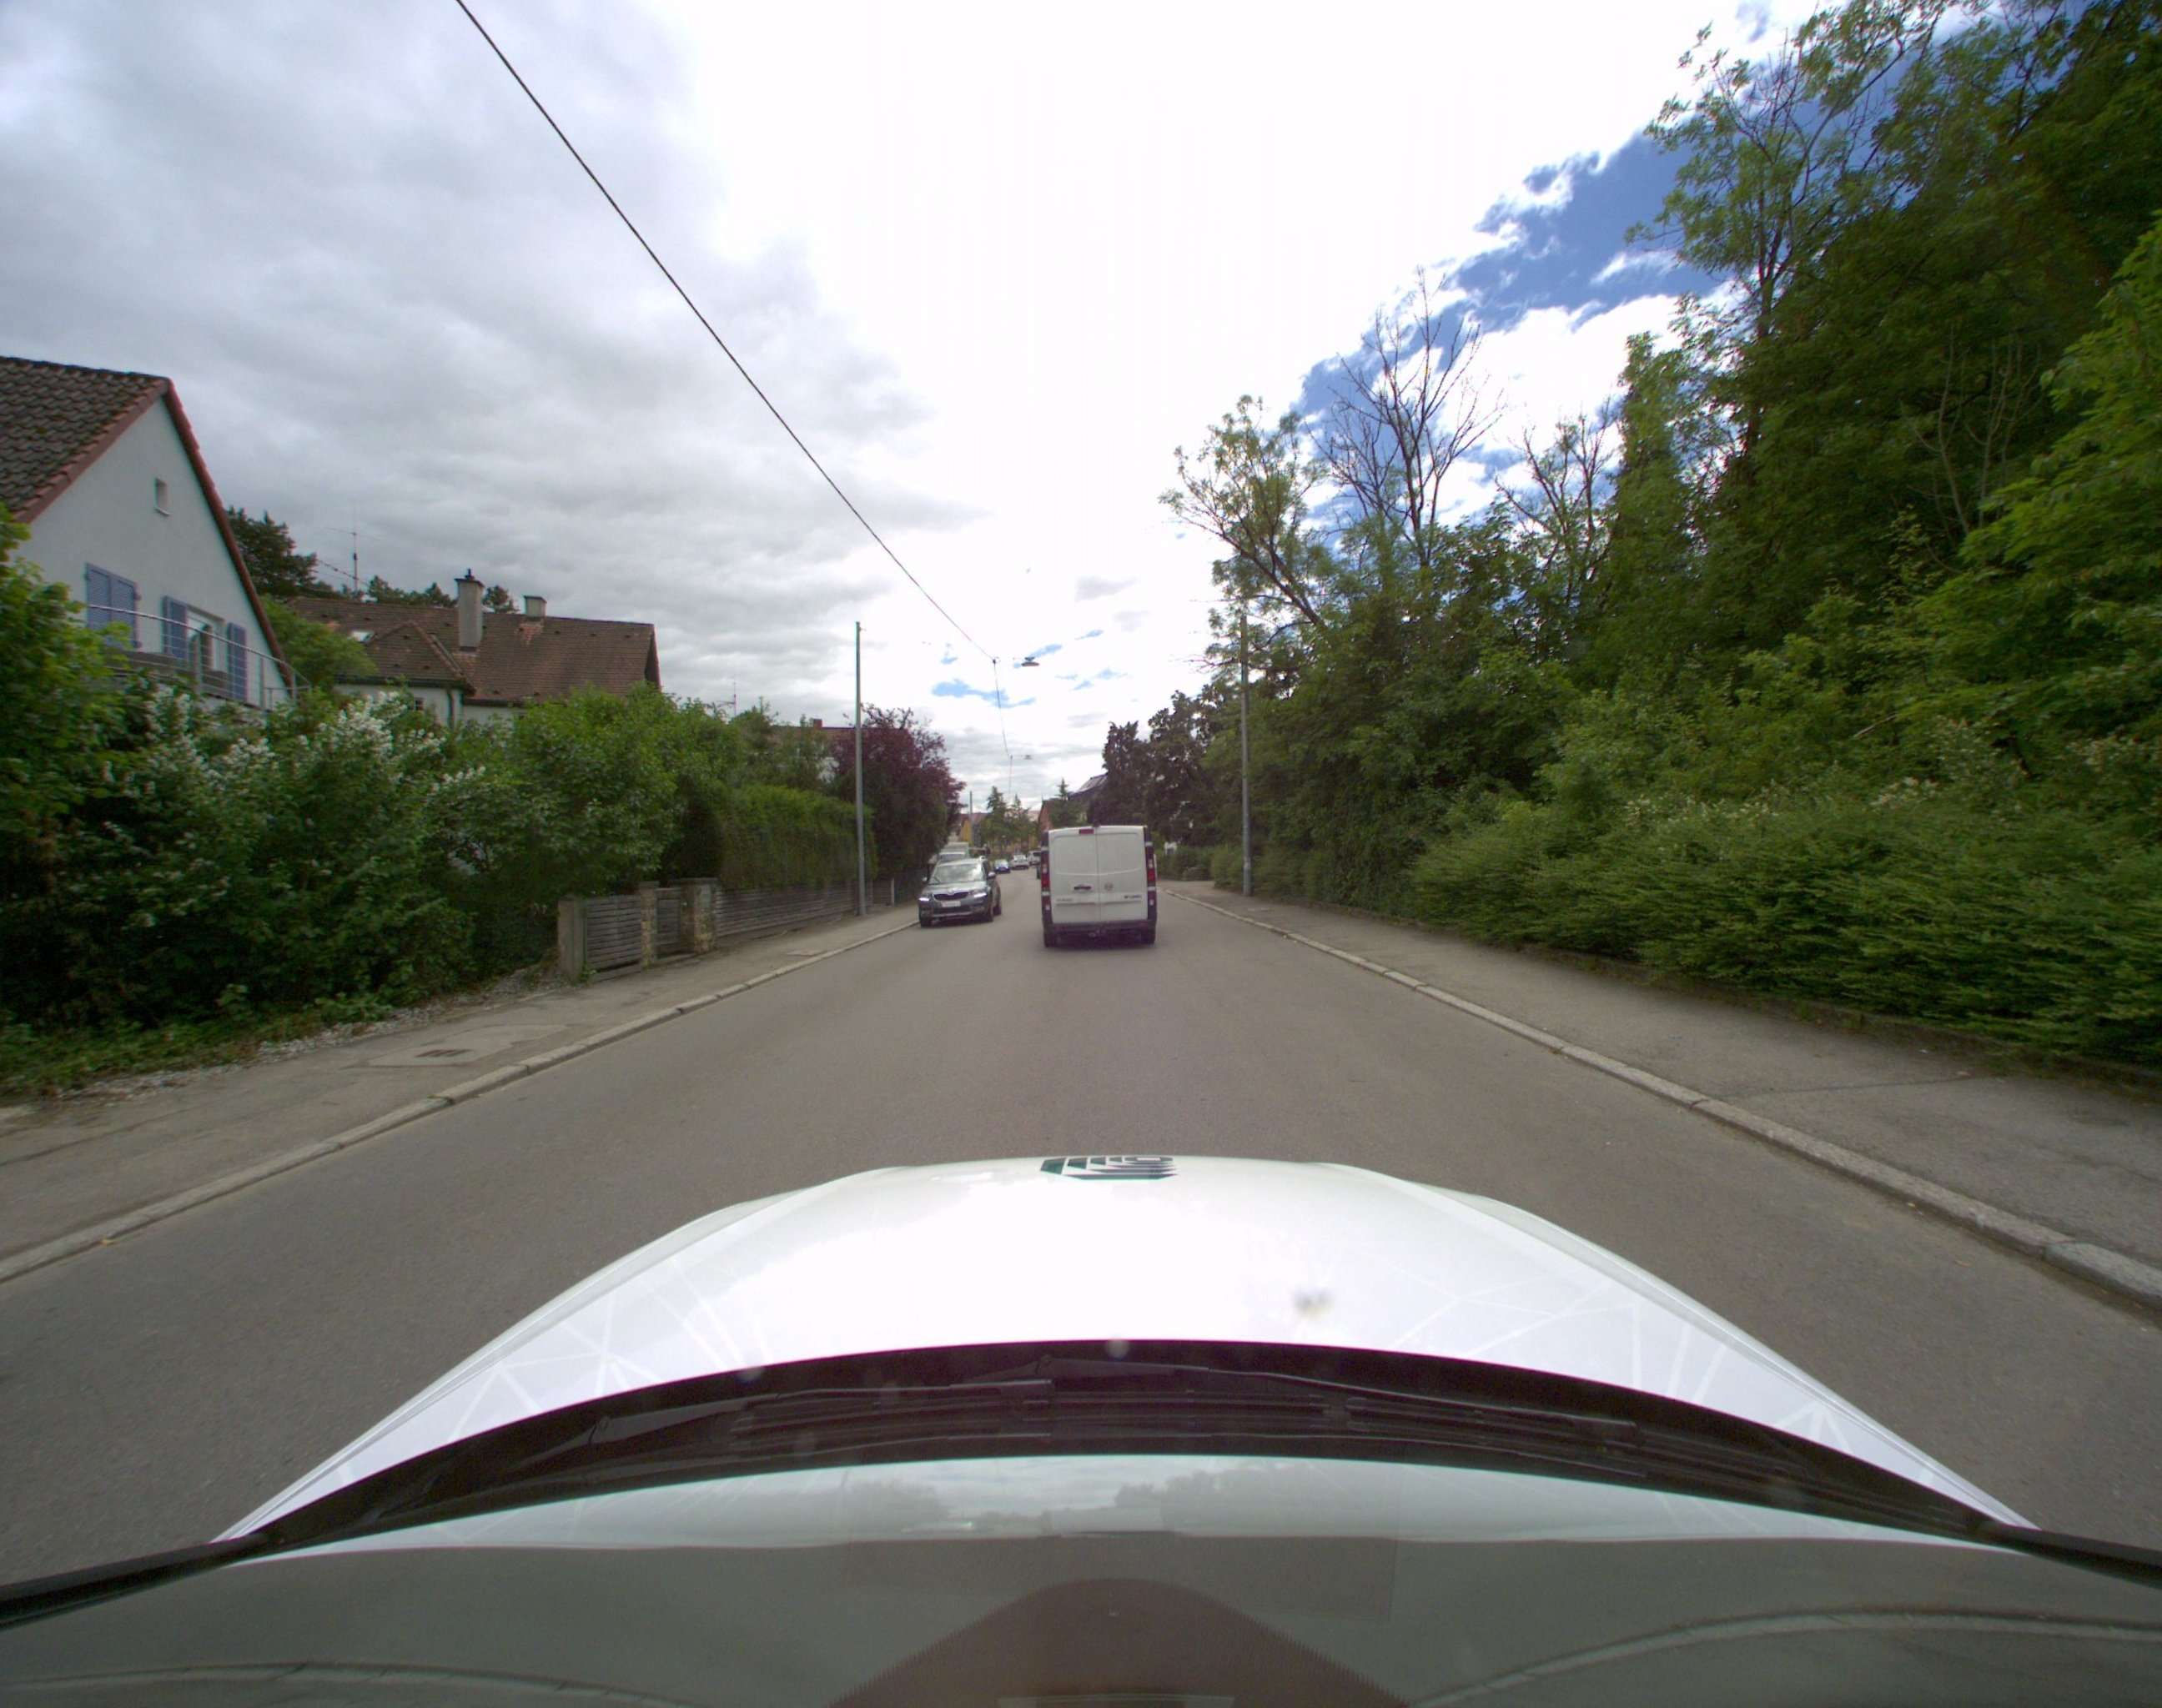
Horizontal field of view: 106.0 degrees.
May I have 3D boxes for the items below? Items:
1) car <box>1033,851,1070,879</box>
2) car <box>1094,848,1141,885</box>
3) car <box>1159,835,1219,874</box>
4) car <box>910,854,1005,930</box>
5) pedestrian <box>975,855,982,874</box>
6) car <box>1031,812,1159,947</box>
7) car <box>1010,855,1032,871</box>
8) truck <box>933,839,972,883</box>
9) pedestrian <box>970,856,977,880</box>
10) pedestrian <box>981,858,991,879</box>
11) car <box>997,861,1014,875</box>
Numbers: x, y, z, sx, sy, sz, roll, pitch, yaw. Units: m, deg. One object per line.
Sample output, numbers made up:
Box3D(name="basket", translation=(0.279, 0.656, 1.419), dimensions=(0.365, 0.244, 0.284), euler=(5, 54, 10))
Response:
Box3D(name="car", translation=(-2.209, 0.788, 59.610), dimensions=(1.996, 1.848, 3.982), euler=(-2, 0, -13))
Box3D(name="car", translation=(1.907, 0.646, 44.312), dimensions=(1.905, 1.848, 5.149), euler=(-1, -1, -4))
Box3D(name="car", translation=(7.900, 0.068, 60.049), dimensions=(2.502, 2.682, 5.158), euler=(1, -1, -16))
Box3D(name="car", translation=(-3.102, 0.924, 21.238), dimensions=(1.835, 1.655, 4.135), euler=(-4, -1, -2))
Box3D(name="pedestrian", translation=(-10.833, 1.126, 86.139), dimensions=(0.731, 1.946, 1.215), euler=(1, -1, -4))
Box3D(name="car", translation=(0.155, 0.415, 14.737), dimensions=(1.911, 2.002, 4.434), euler=(-2, -1, -2))
Box3D(name="car", translation=(-6.981, 1.024, 94.710), dimensions=(1.996, 1.782, 3.982), euler=(-3, 0, -13))
Box3D(name="truck", translation=(-9.104, 0.503, 57.612), dimensions=(2.472, 2.840, 6.685), euler=(-1, 0, -9))
Box3D(name="pedestrian", translation=(-7.672, 1.030, 58.092), dimensions=(0.401, 1.695, 0.595), euler=(1, -1, -10))
Box3D(name="pedestrian", translation=(-7.437, 1.134, 64.031), dimensions=(0.721, 1.687, 1.107), euler=(1, -1, -4))
Box3D(name="car", translation=(-8.006, 1.504, 86.378), dimensions=(1.690, 1.432, 3.922), euler=(0, -1, -4))
